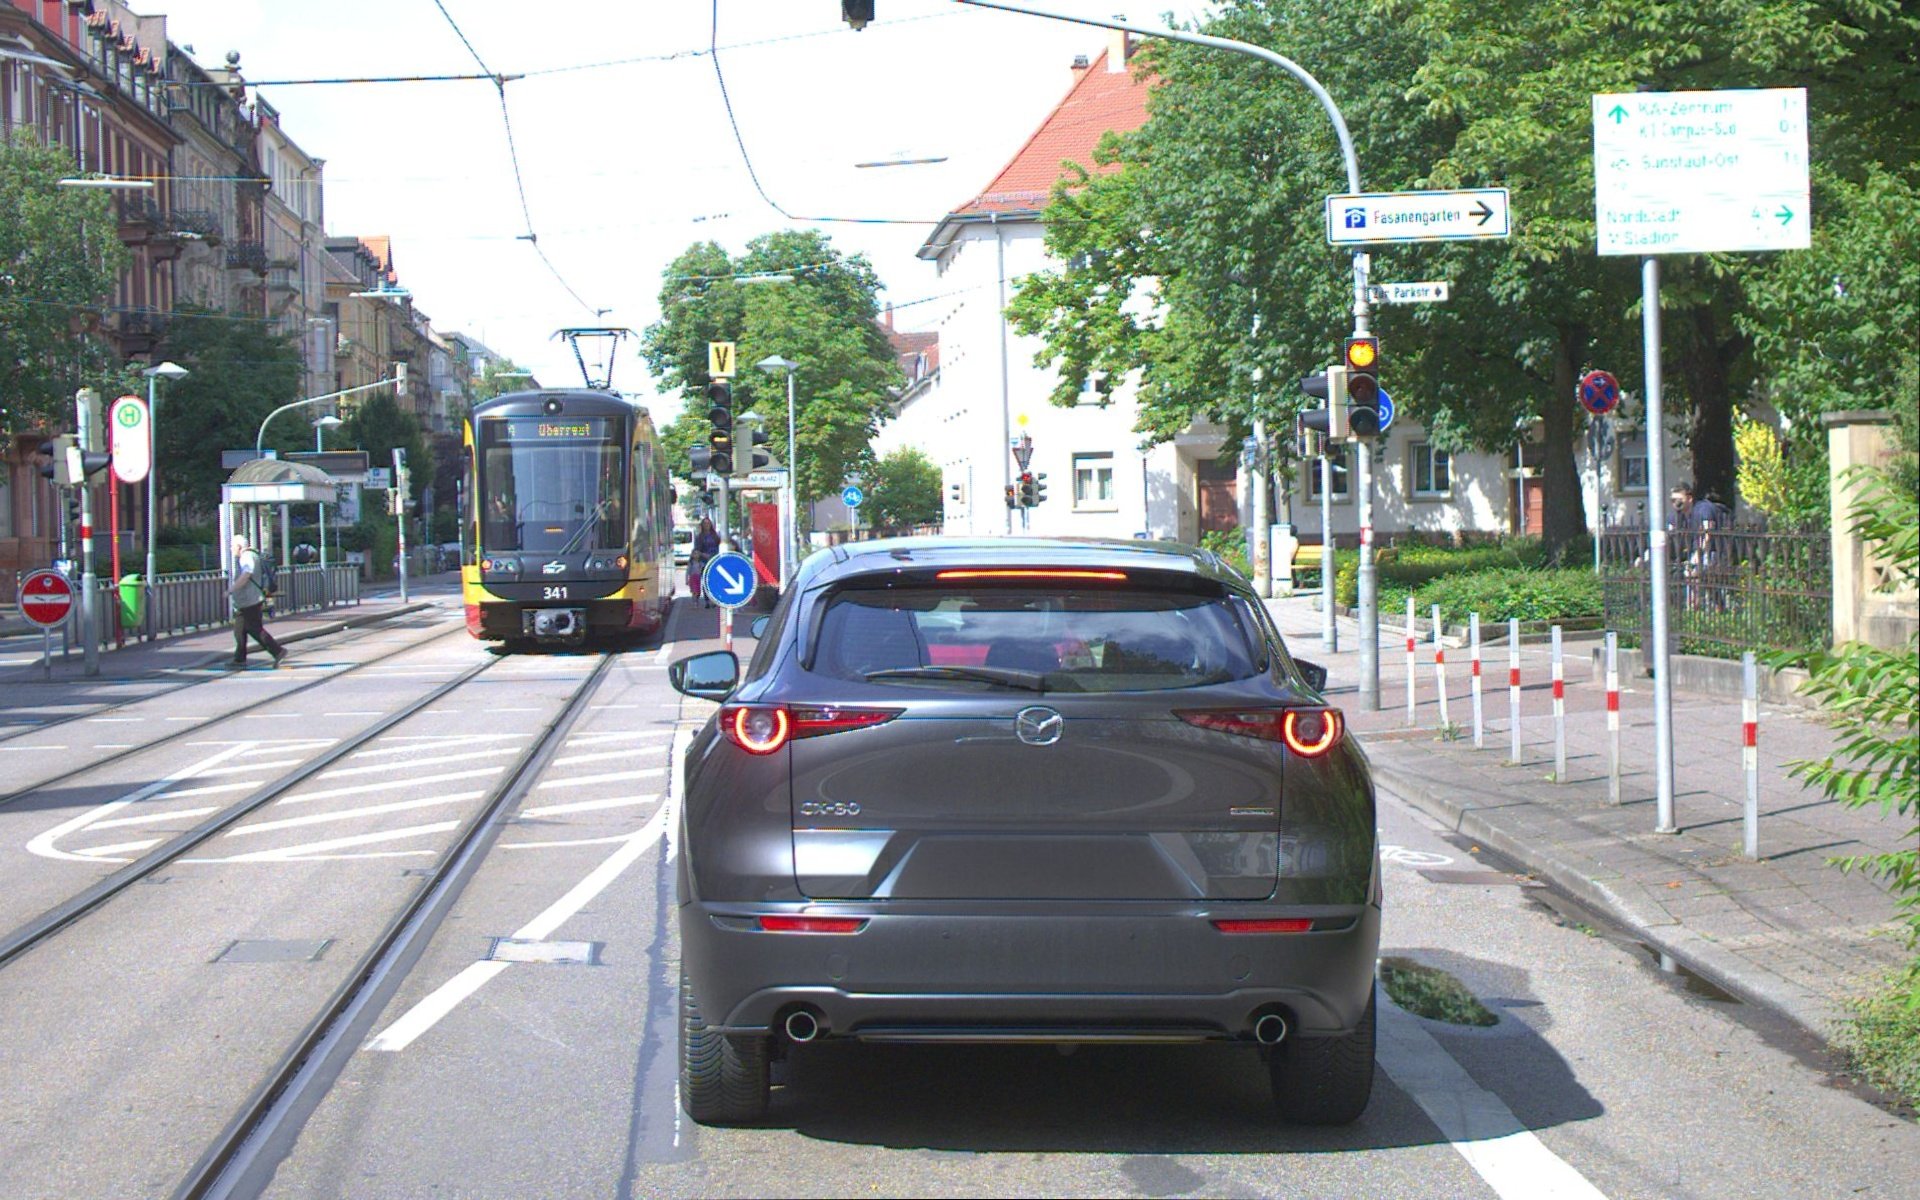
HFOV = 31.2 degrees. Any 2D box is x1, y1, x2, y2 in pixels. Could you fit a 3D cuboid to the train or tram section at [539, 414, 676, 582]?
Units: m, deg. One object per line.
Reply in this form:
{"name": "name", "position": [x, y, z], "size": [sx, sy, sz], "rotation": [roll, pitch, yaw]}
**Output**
{"name": "train or tram section", "position": [-8.013, -2.401, 79.565], "size": [2.752, 3.478, 14.411], "rotation": [-1, 2, -5]}

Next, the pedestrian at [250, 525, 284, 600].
{"name": "pedestrian", "position": [-13.005, -0.697, 64.530], "size": [0.429, 1.394, 0.398], "rotation": [-1, 1, 30]}

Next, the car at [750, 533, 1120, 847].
{"name": "car", "position": [-0.159, 0.400, 18.715], "size": [1.778, 1.494, 4.000], "rotation": [1, 1, -1]}

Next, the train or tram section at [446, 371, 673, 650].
{"name": "train or tram section", "position": [-5.680, -1.402, 50.841], "size": [2.752, 3.478, 14.411], "rotation": [-1, 2, -5]}

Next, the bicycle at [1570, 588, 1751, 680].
{"name": "bicycle", "position": [6.671, 0.315, 32.740], "size": [1.693, 0.821, 0.494], "rotation": [-2, 1, -23]}

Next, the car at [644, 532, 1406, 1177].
{"name": "car", "position": [0.118, 0.563, 10.110], "size": [1.778, 1.494, 4.000], "rotation": [1, 1, -1]}

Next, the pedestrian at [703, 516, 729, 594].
{"name": "pedestrian", "position": [-4.560, -0.843, 64.307], "size": [0.450, 1.429, 0.474], "rotation": [-1, 1, -5]}

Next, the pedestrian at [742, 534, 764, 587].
{"name": "pedestrian", "position": [-3.887, -0.751, 64.539], "size": [0.379, 0.981, 0.474], "rotation": [-1, 1, -5]}

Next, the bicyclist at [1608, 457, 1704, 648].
{"name": "bicyclist", "position": [6.616, -0.456, 32.685], "size": [0.608, 1.786, 0.658], "rotation": [-1, 1, -20]}

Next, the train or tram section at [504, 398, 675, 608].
{"name": "train or tram section", "position": [-6.841, -1.903, 65.179], "size": [2.752, 3.478, 14.411], "rotation": [-1, 2, -5]}

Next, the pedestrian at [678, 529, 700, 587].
{"name": "pedestrian", "position": [-5.039, -0.785, 63.922], "size": [0.379, 1.067, 0.474], "rotation": [-1, 1, -4]}

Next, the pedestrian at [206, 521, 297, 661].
{"name": "pedestrian", "position": [-8.738, -0.112, 42.410], "size": [0.717, 1.699, 0.823], "rotation": [-1, 1, 23]}
